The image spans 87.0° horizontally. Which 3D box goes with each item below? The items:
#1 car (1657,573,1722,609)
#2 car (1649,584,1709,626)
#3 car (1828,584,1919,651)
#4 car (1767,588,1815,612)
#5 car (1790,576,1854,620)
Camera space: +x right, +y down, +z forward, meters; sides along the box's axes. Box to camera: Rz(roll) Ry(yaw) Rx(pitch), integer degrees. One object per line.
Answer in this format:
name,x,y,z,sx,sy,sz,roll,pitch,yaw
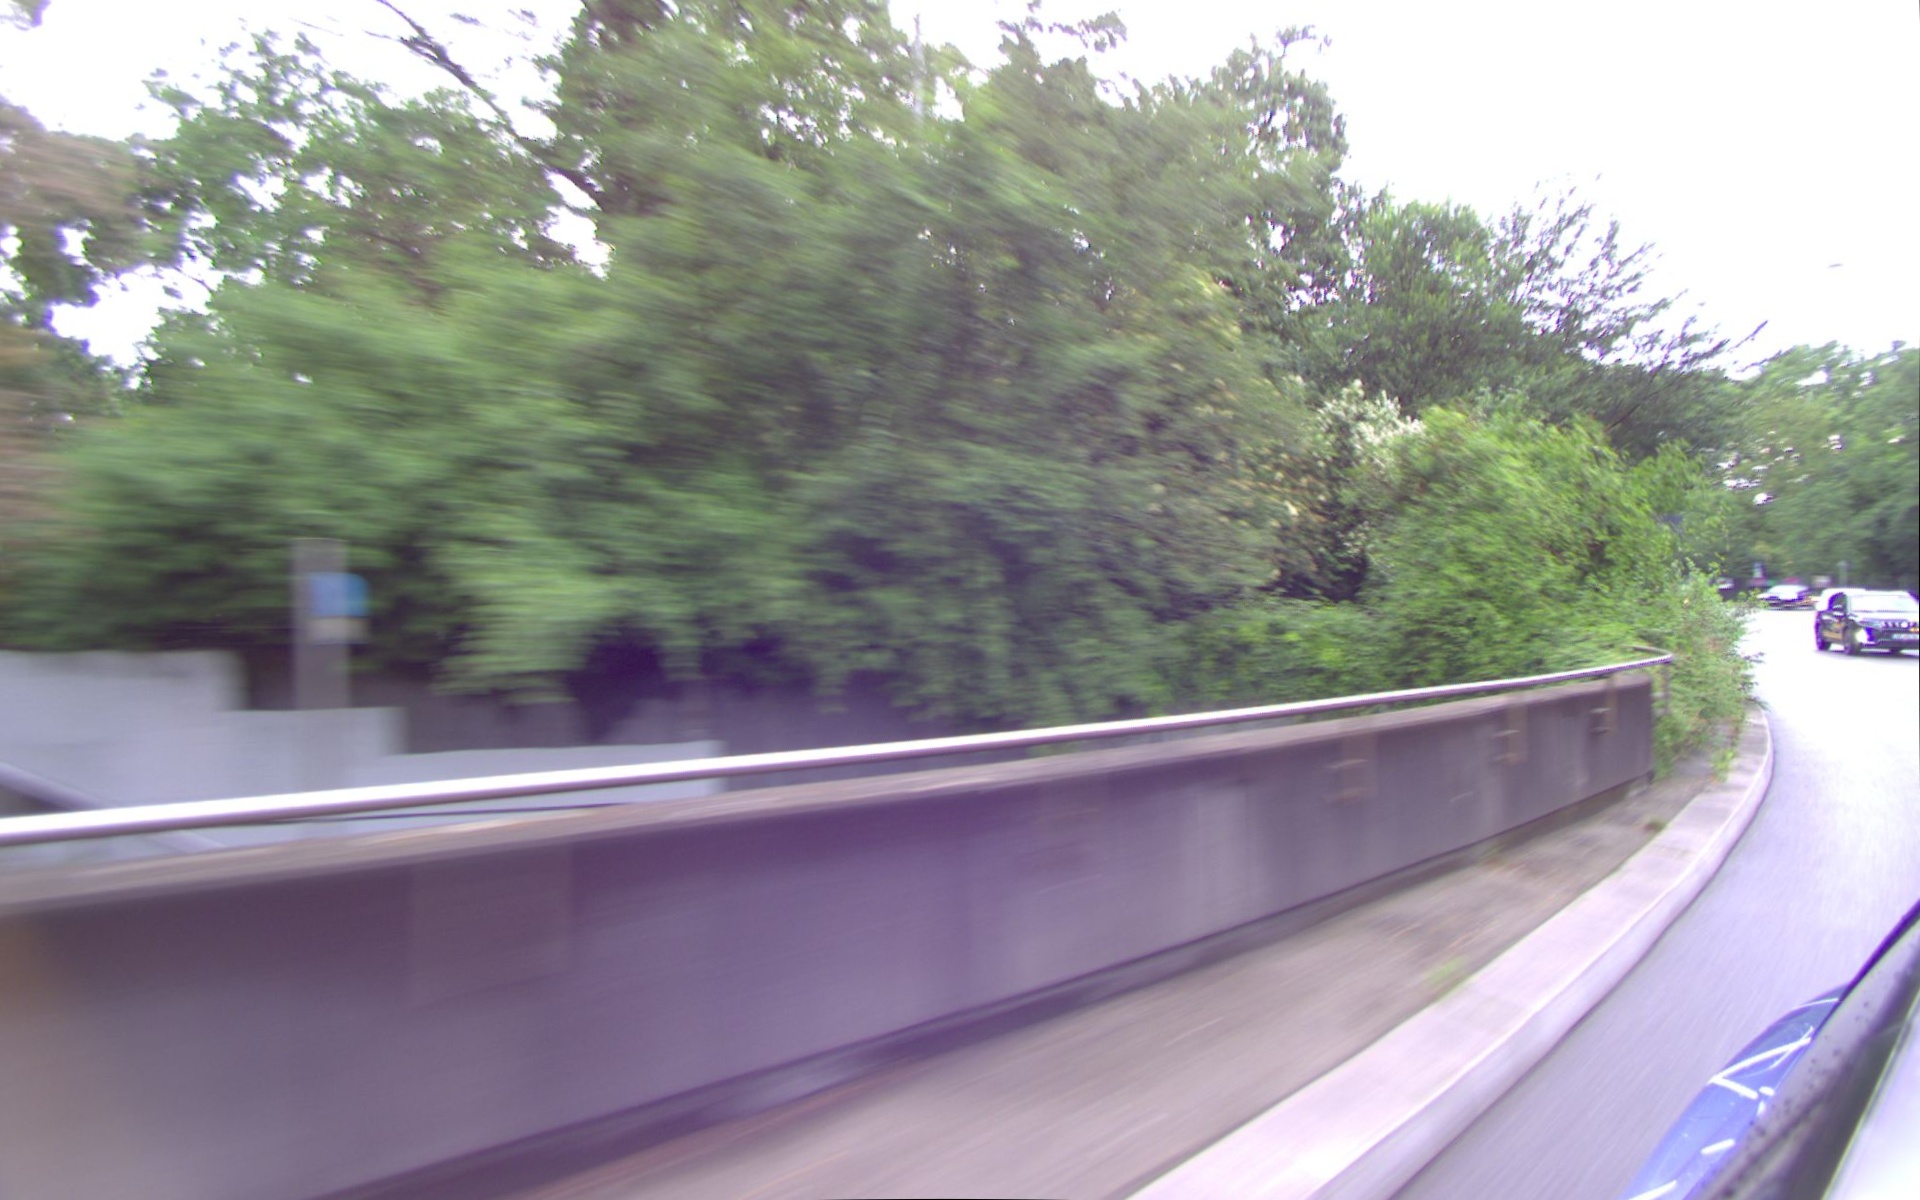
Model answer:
car,37.756,-0.521,52.371,3.933,1.766,1.996,-2,2,-43
car,27.719,0.143,38.966,1.786,1.471,3.947,1,2,37
car,23.537,0.386,25.564,1.918,1.560,3.953,0,1,33
car,51.789,-0.021,63.044,3.049,1.349,1.582,-2,2,-36
car,37.394,-0.145,43.968,1.991,1.766,4.588,1,2,40
